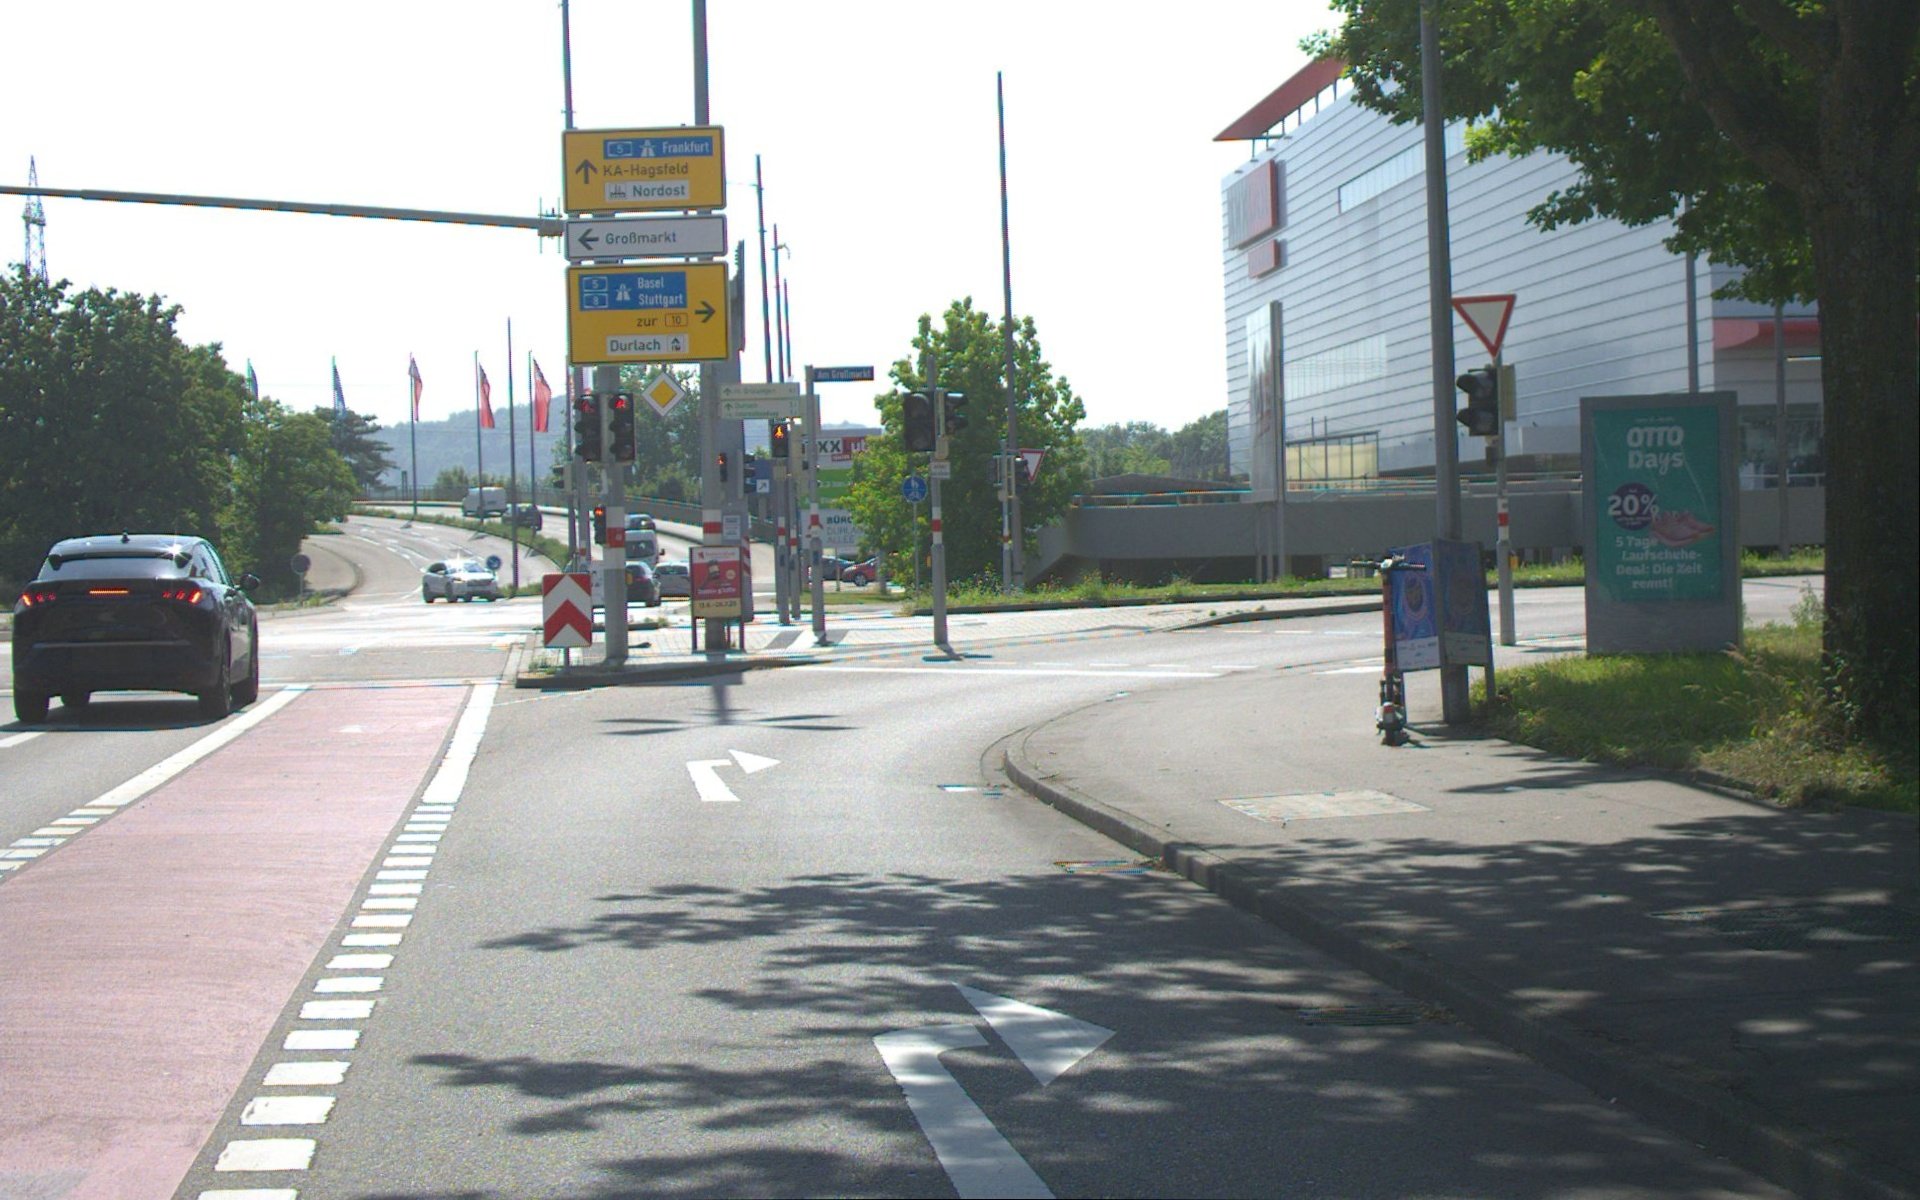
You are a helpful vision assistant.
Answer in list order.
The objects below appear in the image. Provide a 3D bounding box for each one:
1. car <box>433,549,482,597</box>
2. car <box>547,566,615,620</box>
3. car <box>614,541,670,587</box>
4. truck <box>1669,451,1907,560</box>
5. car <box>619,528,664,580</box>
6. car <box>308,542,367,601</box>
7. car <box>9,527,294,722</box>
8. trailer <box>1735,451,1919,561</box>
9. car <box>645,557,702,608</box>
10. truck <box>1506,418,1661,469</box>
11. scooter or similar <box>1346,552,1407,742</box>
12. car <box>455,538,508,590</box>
[{"bbox_3d":[-19.415,-1.056,132.837,1.759,1.787,3.348,-2,1,-8],"label":"car"},{"bbox_3d":[-10.374,-0.207,94.300,1.688,1.354,4.001,1,2,-4],"label":"car"},{"bbox_3d":[-10.157,-1.179,110.044,1.688,1.354,4.001,1,2,-4],"label":"car"},{"bbox_3d":[18.988,-2.172,78.973,4.880,2.415,2.001,1,2,-4],"label":"truck"},{"bbox_3d":[-14.975,-2.172,161.716,1.993,2.313,4.001,1,2,-4],"label":"car"},{"bbox_3d":[-19.714,-0.917,108.975,1.757,1.752,3.604,0,2,-9],"label":"car"},{"bbox_3d":[-7.431,0.168,32.003,1.807,1.634,4.459,-2,1,-4],"label":"car"},{"bbox_3d":[24.027,-2.138,79.361,11.869,2.460,2.001,1,2,-4],"label":"trailer"},{"bbox_3d":[-10.496,-0.654,126.046,1.760,1.787,3.347,-2,1,0],"label":"car"},{"bbox_3d":[25.605,-6.433,141.289,5.909,2.006,2.000,1,2,-4],"label":"truck"},{"bbox_3d":[2.814,0.301,23.184,0.351,1.229,1.311,-2,1,7],"label":"scooter or similar"},{"bbox_3d":[-19.550,-1.472,140.559,1.993,2.006,3.982,0,2,-6],"label":"car"}]
